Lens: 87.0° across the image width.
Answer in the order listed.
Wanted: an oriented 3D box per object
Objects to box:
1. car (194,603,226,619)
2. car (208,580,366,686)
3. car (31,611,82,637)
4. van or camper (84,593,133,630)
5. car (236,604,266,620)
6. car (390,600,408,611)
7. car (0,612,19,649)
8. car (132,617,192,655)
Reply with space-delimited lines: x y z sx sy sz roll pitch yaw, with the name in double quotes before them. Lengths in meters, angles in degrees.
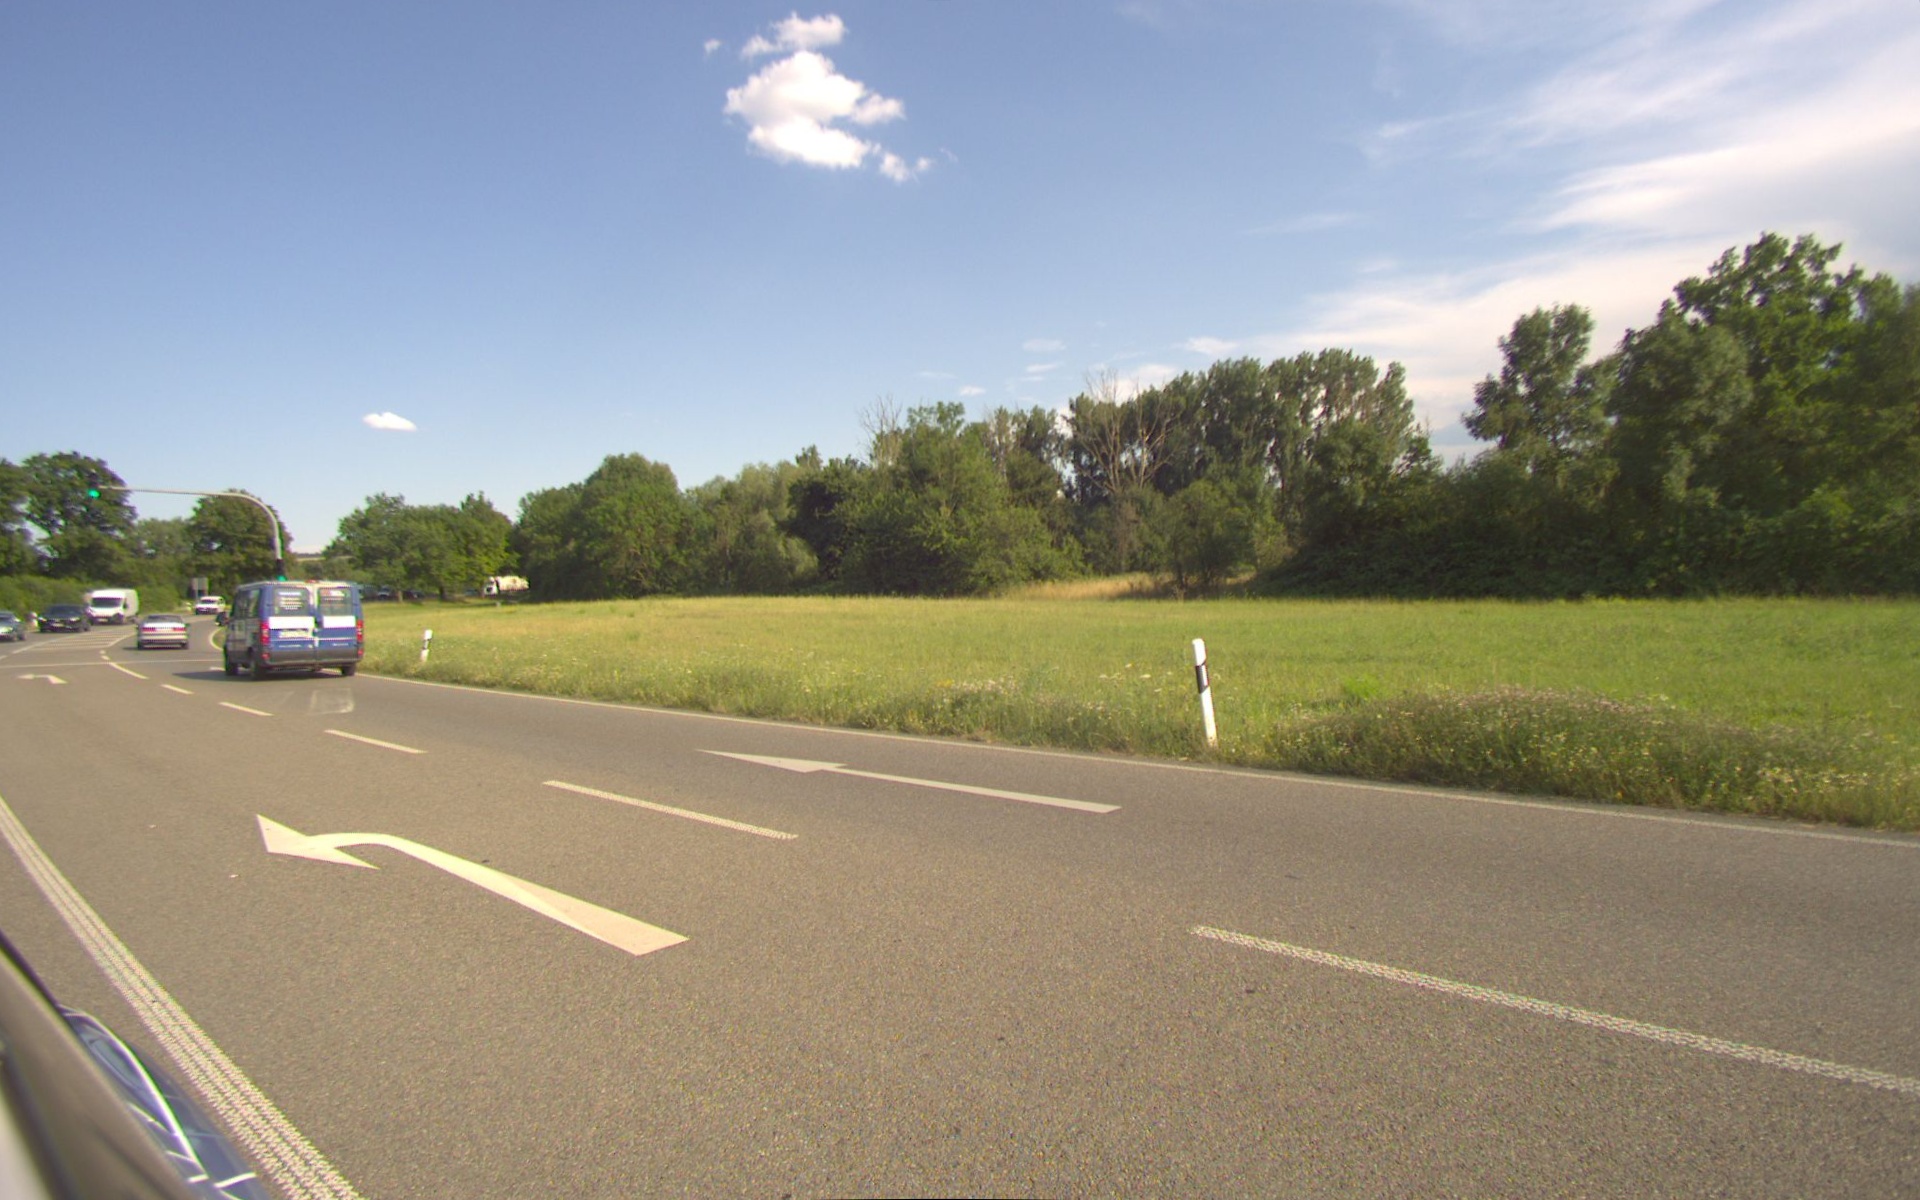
"car" -75.547 1.082 101.994 1.646 1.490 3.506 -3 1 -20
"car" -15.451 0.699 23.119 4.780 2.153 1.976 -1 0 43
"car" -52.798 1.379 59.171 1.581 1.490 3.627 1 -1 -32
"van or camper" -61.589 0.838 73.278 2.001 2.494 5.091 -3 1 -33
"car" -67.135 1.110 95.877 1.563 1.478 3.619 0 -1 -21
"car" -92.675 0.927 167.222 1.613 1.707 3.627 0 0 -12
"car" -44.606 1.365 46.500 1.609 1.570 3.425 1 0 -37
"car" -32.427 1.423 41.084 1.686 1.439 4.183 -1 0 -42
